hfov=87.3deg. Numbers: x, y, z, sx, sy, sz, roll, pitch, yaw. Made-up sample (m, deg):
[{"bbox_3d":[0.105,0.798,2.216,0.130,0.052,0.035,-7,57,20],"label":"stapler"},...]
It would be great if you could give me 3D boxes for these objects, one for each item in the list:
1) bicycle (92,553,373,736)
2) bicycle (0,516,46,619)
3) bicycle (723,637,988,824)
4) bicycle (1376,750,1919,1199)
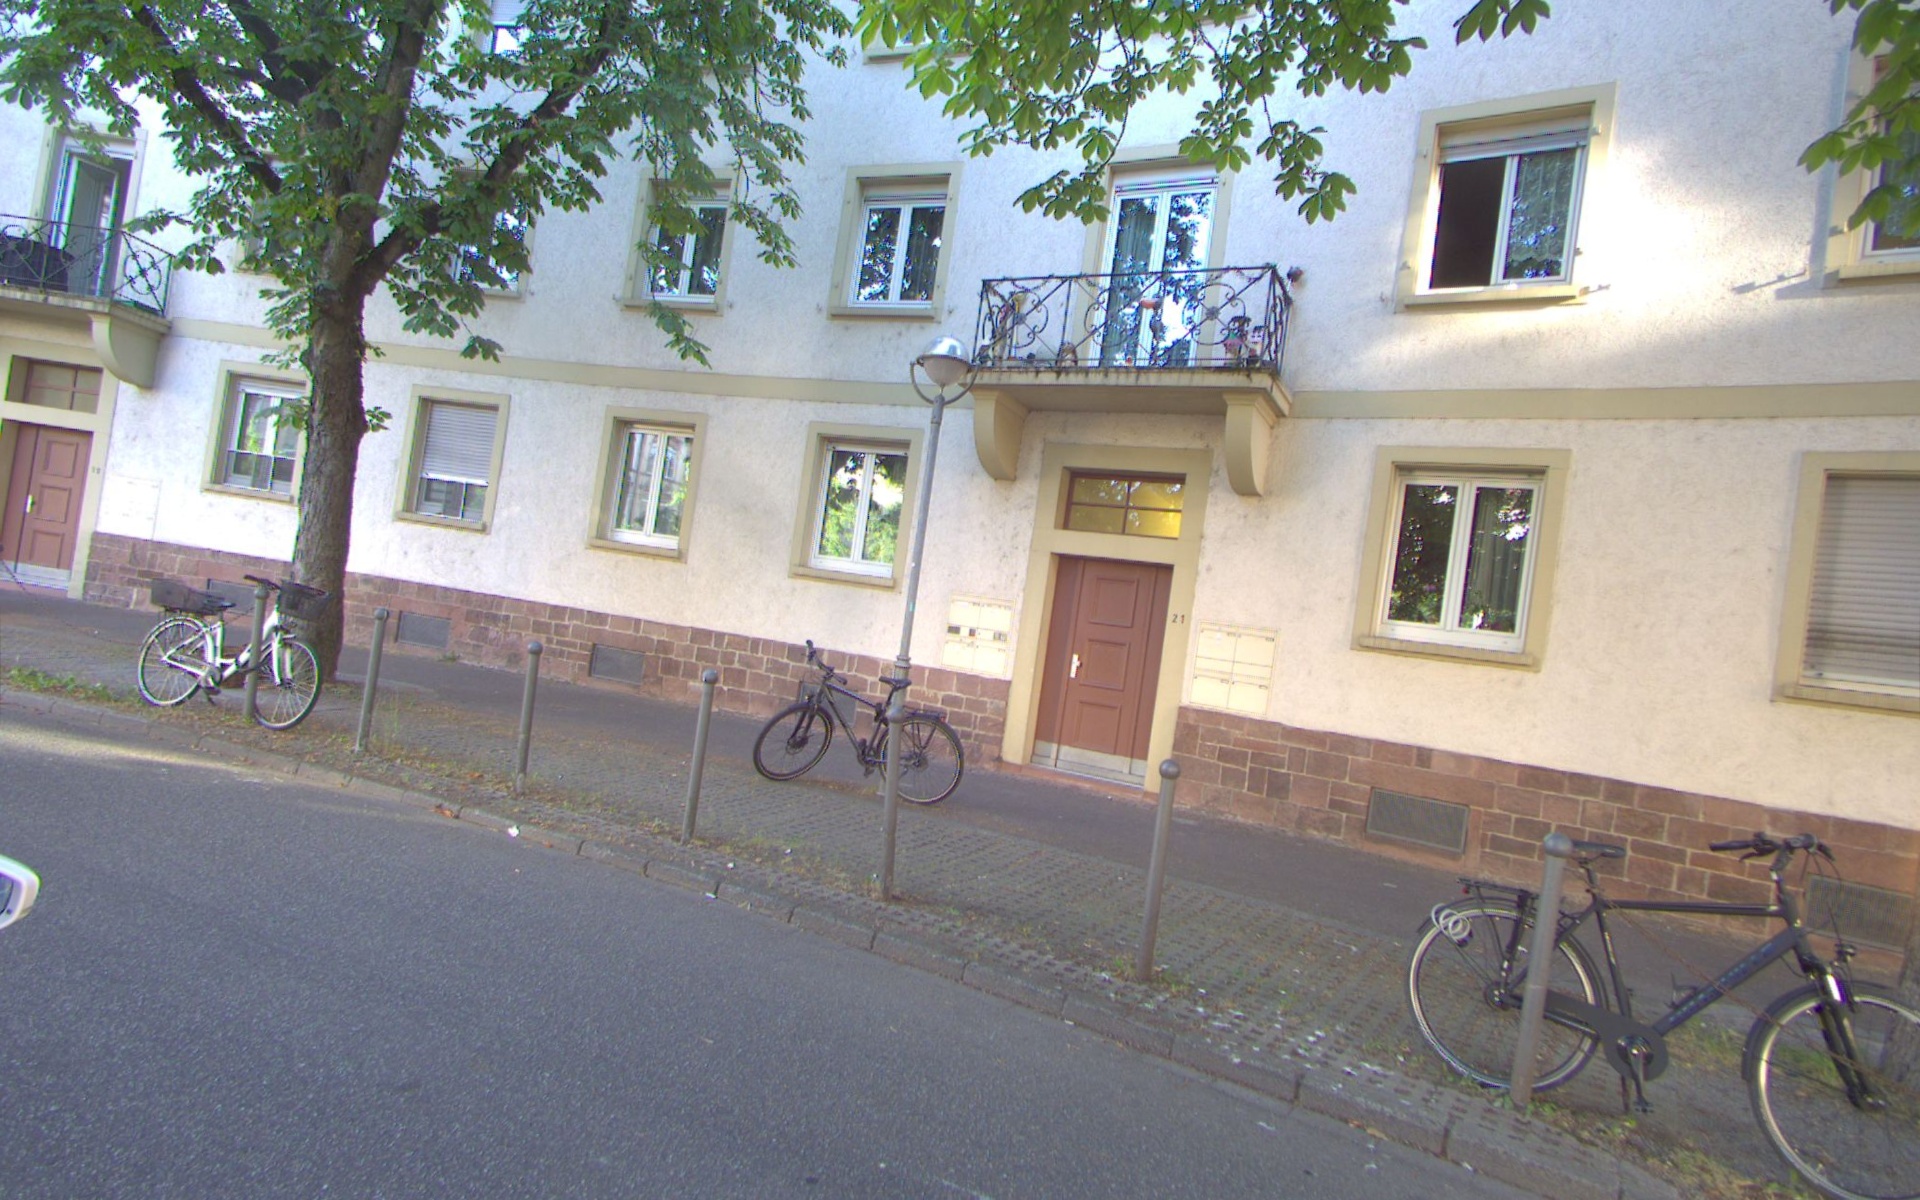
[{"bbox_3d":[-5.642,0.327,7.810,1.936,1.109,0.514,8,0,12],"label":"bicycle"},{"bbox_3d":[-11.705,-0.499,11.570,1.929,1.120,0.670,8,-2,13],"label":"bicycle"},{"bbox_3d":[-0.795,0.998,7.996,1.823,1.131,0.804,8,-1,8],"label":"bicycle"},{"bbox_3d":[2.628,1.336,3.637,1.881,1.237,0.719,7,-1,29],"label":"bicycle"}]
